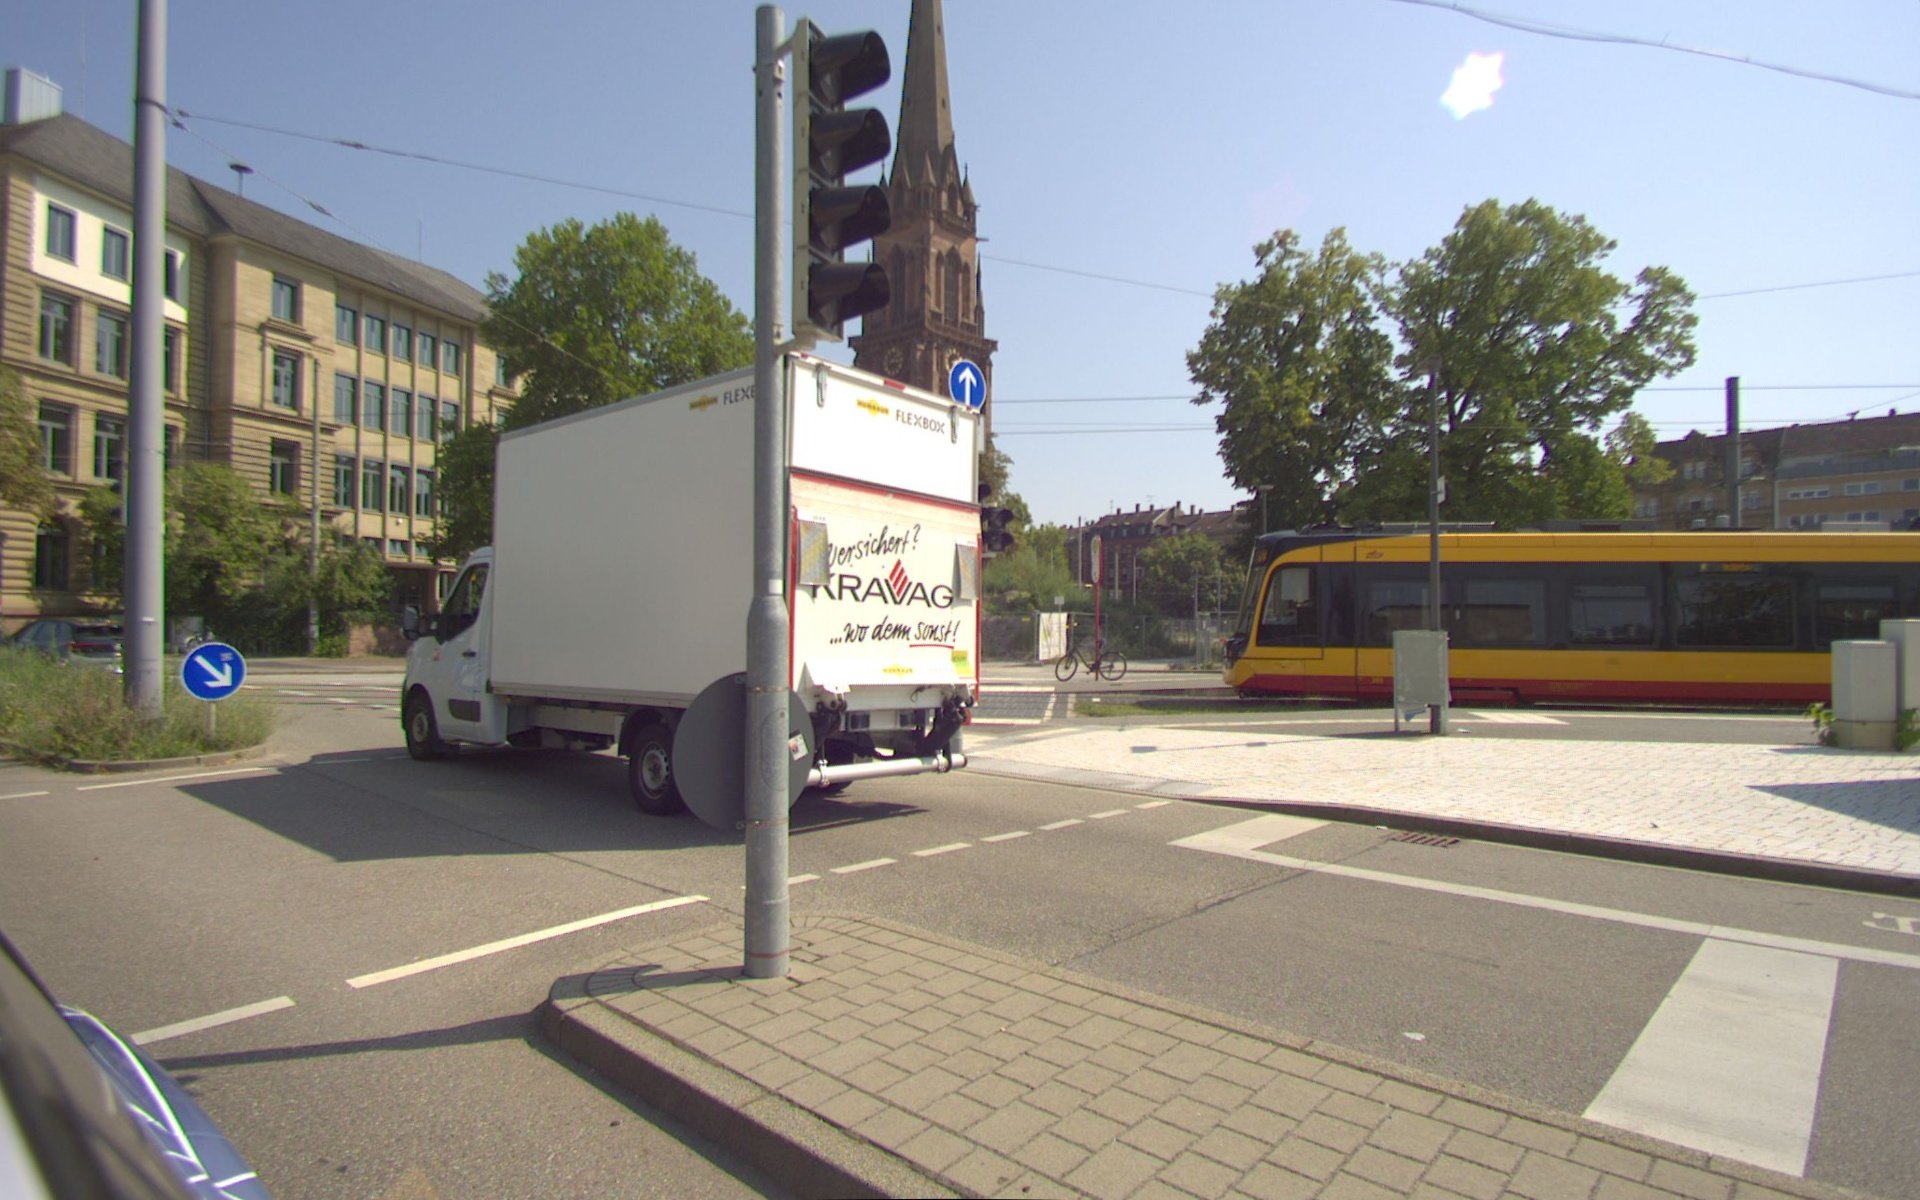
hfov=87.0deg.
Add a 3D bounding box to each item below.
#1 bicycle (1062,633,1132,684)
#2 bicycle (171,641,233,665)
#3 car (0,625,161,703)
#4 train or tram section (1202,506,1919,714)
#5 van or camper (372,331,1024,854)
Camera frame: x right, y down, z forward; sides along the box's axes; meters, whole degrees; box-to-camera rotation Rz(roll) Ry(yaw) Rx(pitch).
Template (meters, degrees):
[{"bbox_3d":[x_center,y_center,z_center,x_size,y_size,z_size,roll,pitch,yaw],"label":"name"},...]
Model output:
[{"bbox_3d":[3.394,1.442,24.997,1.687,1.232,0.607,0,-2,12],"label":"bicycle"},{"bbox_3d":[-29.988,2.075,40.100,0.740,0.901,2.178,0,-2,3],"label":"bicycle"},{"bbox_3d":[-19.286,1.321,21.914,4.166,1.542,1.685,-1,-2,30],"label":"car"},{"bbox_3d":[13.738,0.189,19.158,17.529,3.575,2.859,0,-1,7],"label":"train or tram section"},{"bbox_3d":[-2.959,0.037,9.694,7.186,3.331,2.375,-1,-3,41],"label":"van or camper"}]
